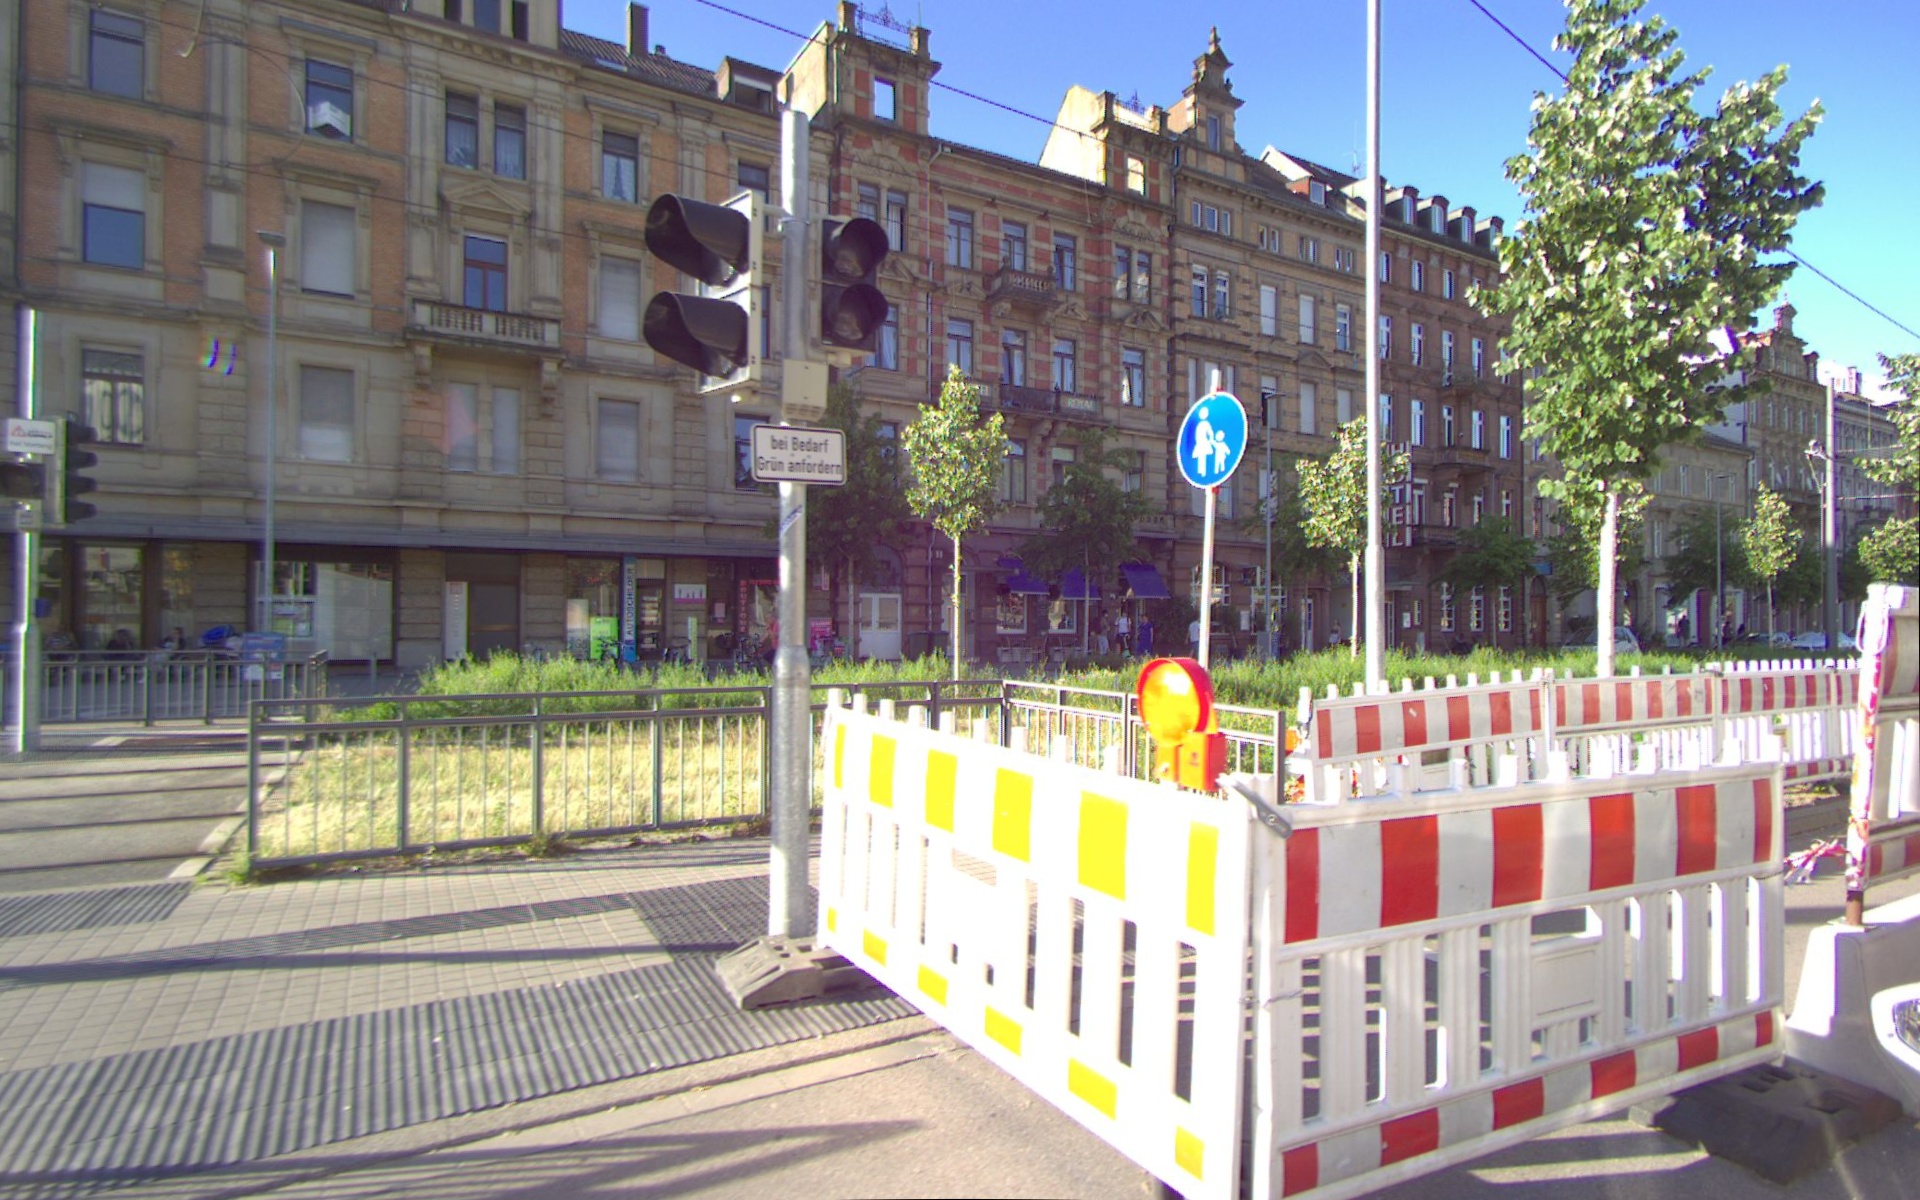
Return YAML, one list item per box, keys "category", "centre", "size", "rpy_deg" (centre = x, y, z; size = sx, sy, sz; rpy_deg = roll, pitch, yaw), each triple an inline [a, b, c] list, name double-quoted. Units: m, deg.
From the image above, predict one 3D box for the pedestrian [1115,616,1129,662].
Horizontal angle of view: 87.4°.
- category: "pedestrian"
  centre: [5.762, 1.393, 35.714]
  size: [0.383, 1.606, 0.386]
  rpy_deg: [1, 1, 1]

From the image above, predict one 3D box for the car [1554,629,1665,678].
- category: "car"
  centre: [21.508, 1.736, 33.228]
  size: [3.579, 1.502, 1.588]
  rpy_deg: [1, -1, -29]

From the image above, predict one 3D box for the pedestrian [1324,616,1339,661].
- category: "pedestrian"
  centre: [14.869, 1.523, 40.178]
  size: [0.401, 1.788, 0.365]
  rpy_deg: [1, 1, -30]

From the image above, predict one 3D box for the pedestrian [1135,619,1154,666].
- category: "pedestrian"
  centre: [6.309, 1.444, 34.349]
  size: [0.421, 1.606, 0.401]
  rpy_deg: [1, 1, -30]

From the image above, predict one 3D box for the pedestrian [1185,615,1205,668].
- category: "pedestrian"
  centre: [8.008, 1.408, 34.254]
  size: [0.401, 1.788, 0.505]
  rpy_deg: [1, 1, -30]

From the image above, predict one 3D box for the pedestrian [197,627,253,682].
- category: "pedestrian"
  centre: [-16.833, 1.236, 23.023]
  size: [0.918, 1.224, 0.687]
  rpy_deg: [1, -1, -29]

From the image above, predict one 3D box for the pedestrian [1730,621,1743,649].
- category: "pedestrian"
  centre: [43.748, 1.967, 56.598]
  size: [0.430, 1.553, 0.403]
  rpy_deg: [1, 1, -30]

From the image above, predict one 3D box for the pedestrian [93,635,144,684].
- category: "pedestrian"
  centre: [-18.934, 1.330, 22.614]
  size: [0.727, 1.073, 0.687]
  rpy_deg: [1, -1, -29]

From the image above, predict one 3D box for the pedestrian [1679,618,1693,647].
- category: "pedestrian"
  centre: [39.960, 1.778, 55.289]
  size: [0.431, 1.606, 0.457]
  rpy_deg: [1, 1, -37]

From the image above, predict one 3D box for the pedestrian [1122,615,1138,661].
- category: "pedestrian"
  centre: [6.060, 1.341, 35.785]
  size: [0.474, 1.606, 0.482]
  rpy_deg: [1, 1, 14]

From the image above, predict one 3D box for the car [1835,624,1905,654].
- category: "car"
  centre: [49.639, 2.095, 54.759]
  size: [4.660, 1.583, 1.559]
  rpy_deg: [1, -1, -31]

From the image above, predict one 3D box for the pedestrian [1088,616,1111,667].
- category: "pedestrian"
  centre: [4.521, 1.342, 32.511]
  size: [0.527, 1.606, 0.484]
  rpy_deg: [1, 1, -30]

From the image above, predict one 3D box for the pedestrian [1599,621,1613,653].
- category: "pedestrian"
  centre: [32.411, 1.864, 50.390]
  size: [0.335, 1.606, 0.427]
  rpy_deg: [1, 1, -29]

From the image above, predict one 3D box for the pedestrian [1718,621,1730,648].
- category: "pedestrian"
  centre: [43.699, 1.966, 57.445]
  size: [0.430, 1.555, 0.403]
  rpy_deg: [1, 1, -30]

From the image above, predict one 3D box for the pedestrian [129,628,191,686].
- category: "pedestrian"
  centre: [-17.465, 1.225, 21.954]
  size: [0.918, 1.224, 0.788]
  rpy_deg: [1, -1, -29]

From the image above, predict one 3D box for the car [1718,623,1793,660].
- category: "car"
  centre: [37.933, 1.964, 47.890]
  size: [3.764, 1.697, 1.559]
  rpy_deg: [0, -1, -31]

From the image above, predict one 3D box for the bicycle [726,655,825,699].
- category: "bicycle"
  centre: [-3.963, 1.636, 21.639]
  size: [2.006, 0.869, 0.634]
  rpy_deg: [1, -1, -29]

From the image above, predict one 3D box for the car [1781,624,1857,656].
- category: "car"
  centre: [44.150, 2.031, 51.588]
  size: [4.659, 1.583, 1.559]
  rpy_deg: [0, -1, -31]

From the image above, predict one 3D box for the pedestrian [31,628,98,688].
- category: "pedestrian"
  centre: [-19.163, 1.226, 21.523]
  size: [0.918, 1.263, 0.687]
  rpy_deg: [1, -1, -29]

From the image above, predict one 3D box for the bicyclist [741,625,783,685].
- category: "bicyclist"
  centre: [-4.232, 1.158, 21.483]
  size: [0.729, 1.256, 0.634]
  rpy_deg: [1, -1, -29]

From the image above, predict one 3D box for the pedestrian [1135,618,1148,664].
- category: "pedestrian"
  centre: [6.417, 1.451, 35.552]
  size: [0.361, 1.606, 0.406]
  rpy_deg: [2, 1, 21]
